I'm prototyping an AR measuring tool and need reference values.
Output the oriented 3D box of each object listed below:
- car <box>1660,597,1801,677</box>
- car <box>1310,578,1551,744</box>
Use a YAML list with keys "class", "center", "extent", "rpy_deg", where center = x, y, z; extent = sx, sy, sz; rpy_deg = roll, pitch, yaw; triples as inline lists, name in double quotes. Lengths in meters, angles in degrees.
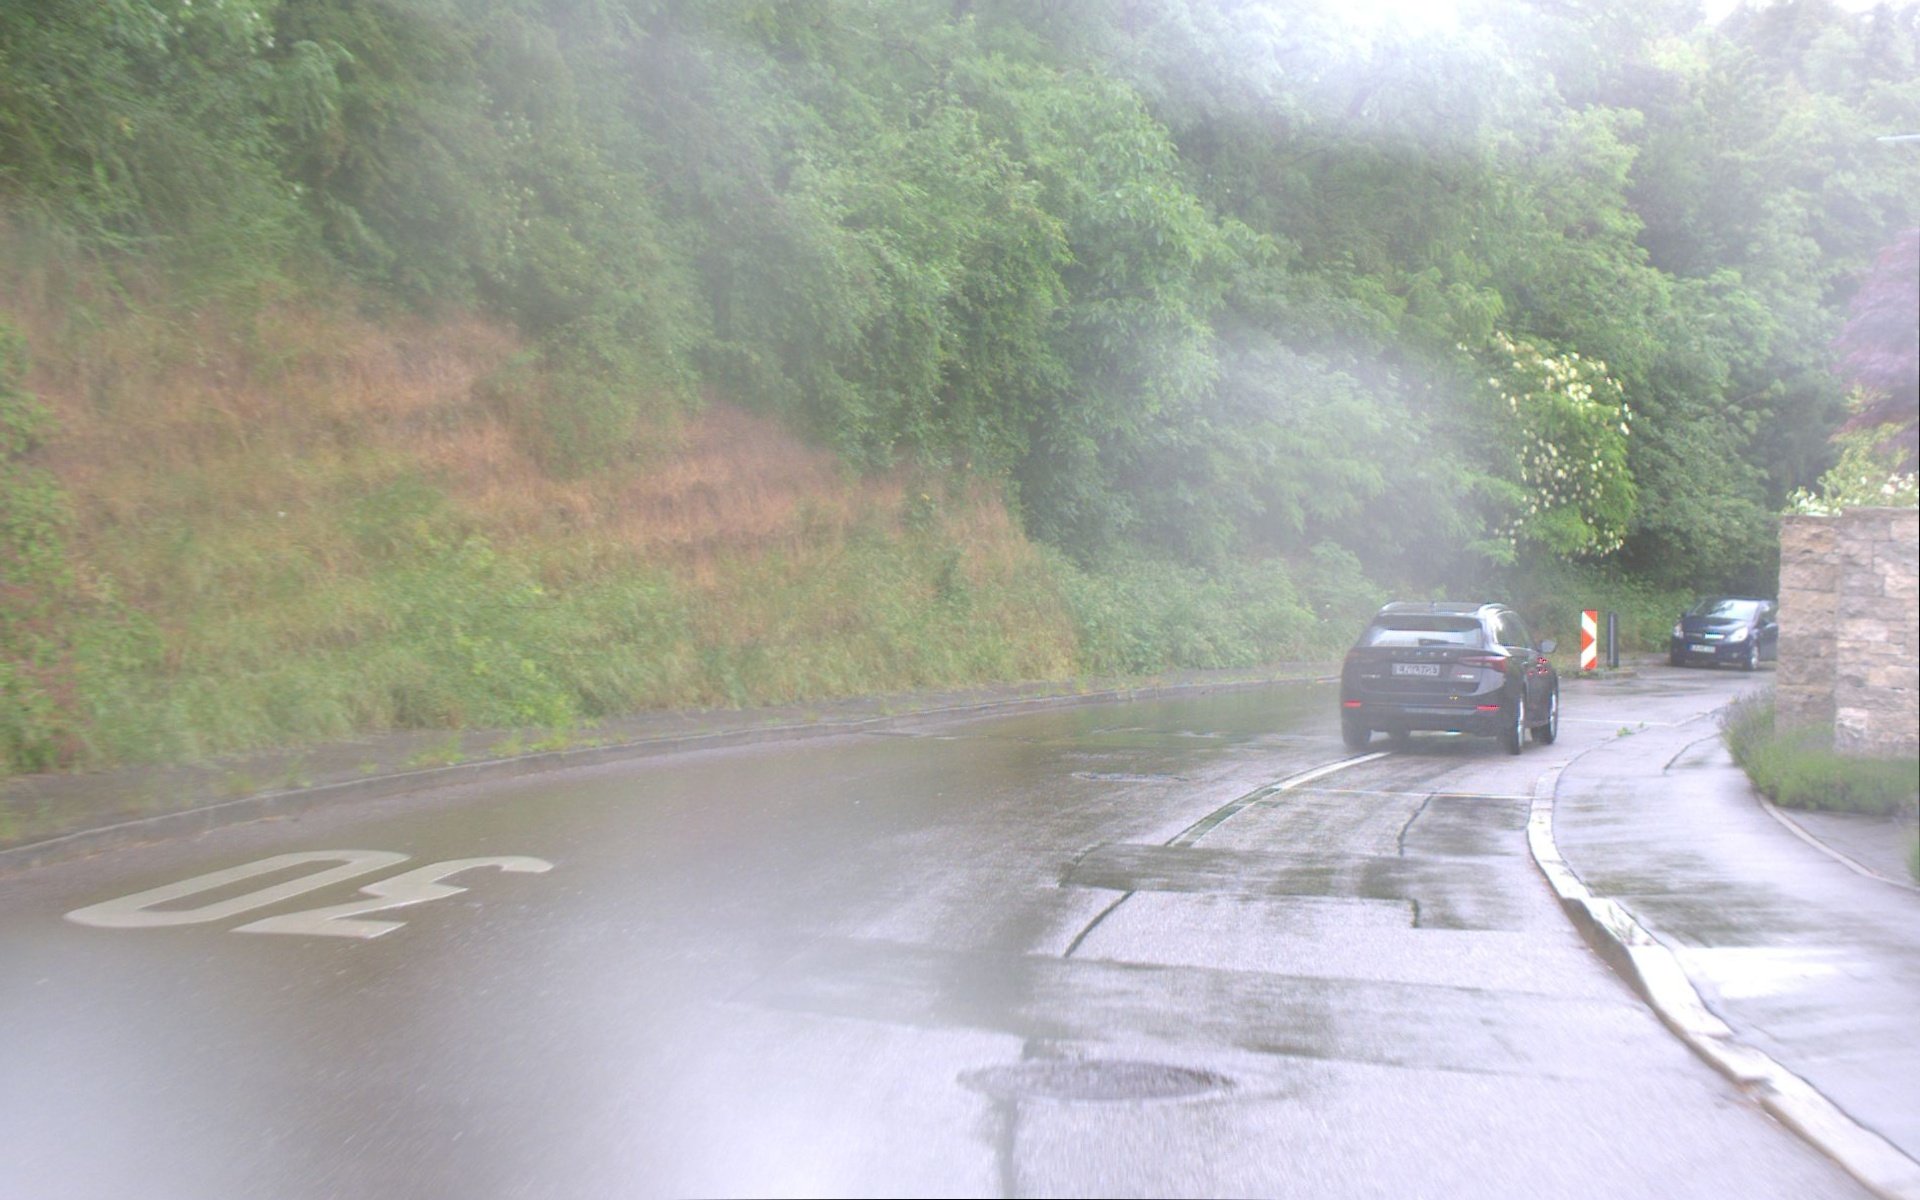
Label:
- class: "car"
  center: [15.625, 0.731, 69.623]
  extent: [1.702, 1.466, 3.994]
  rpy_deg: [4, 2, 28]
- class: "car"
  center: [4.809, 0.575, 34.693]
  extent: [1.870, 1.507, 4.090]
  rpy_deg: [2, 1, 15]
